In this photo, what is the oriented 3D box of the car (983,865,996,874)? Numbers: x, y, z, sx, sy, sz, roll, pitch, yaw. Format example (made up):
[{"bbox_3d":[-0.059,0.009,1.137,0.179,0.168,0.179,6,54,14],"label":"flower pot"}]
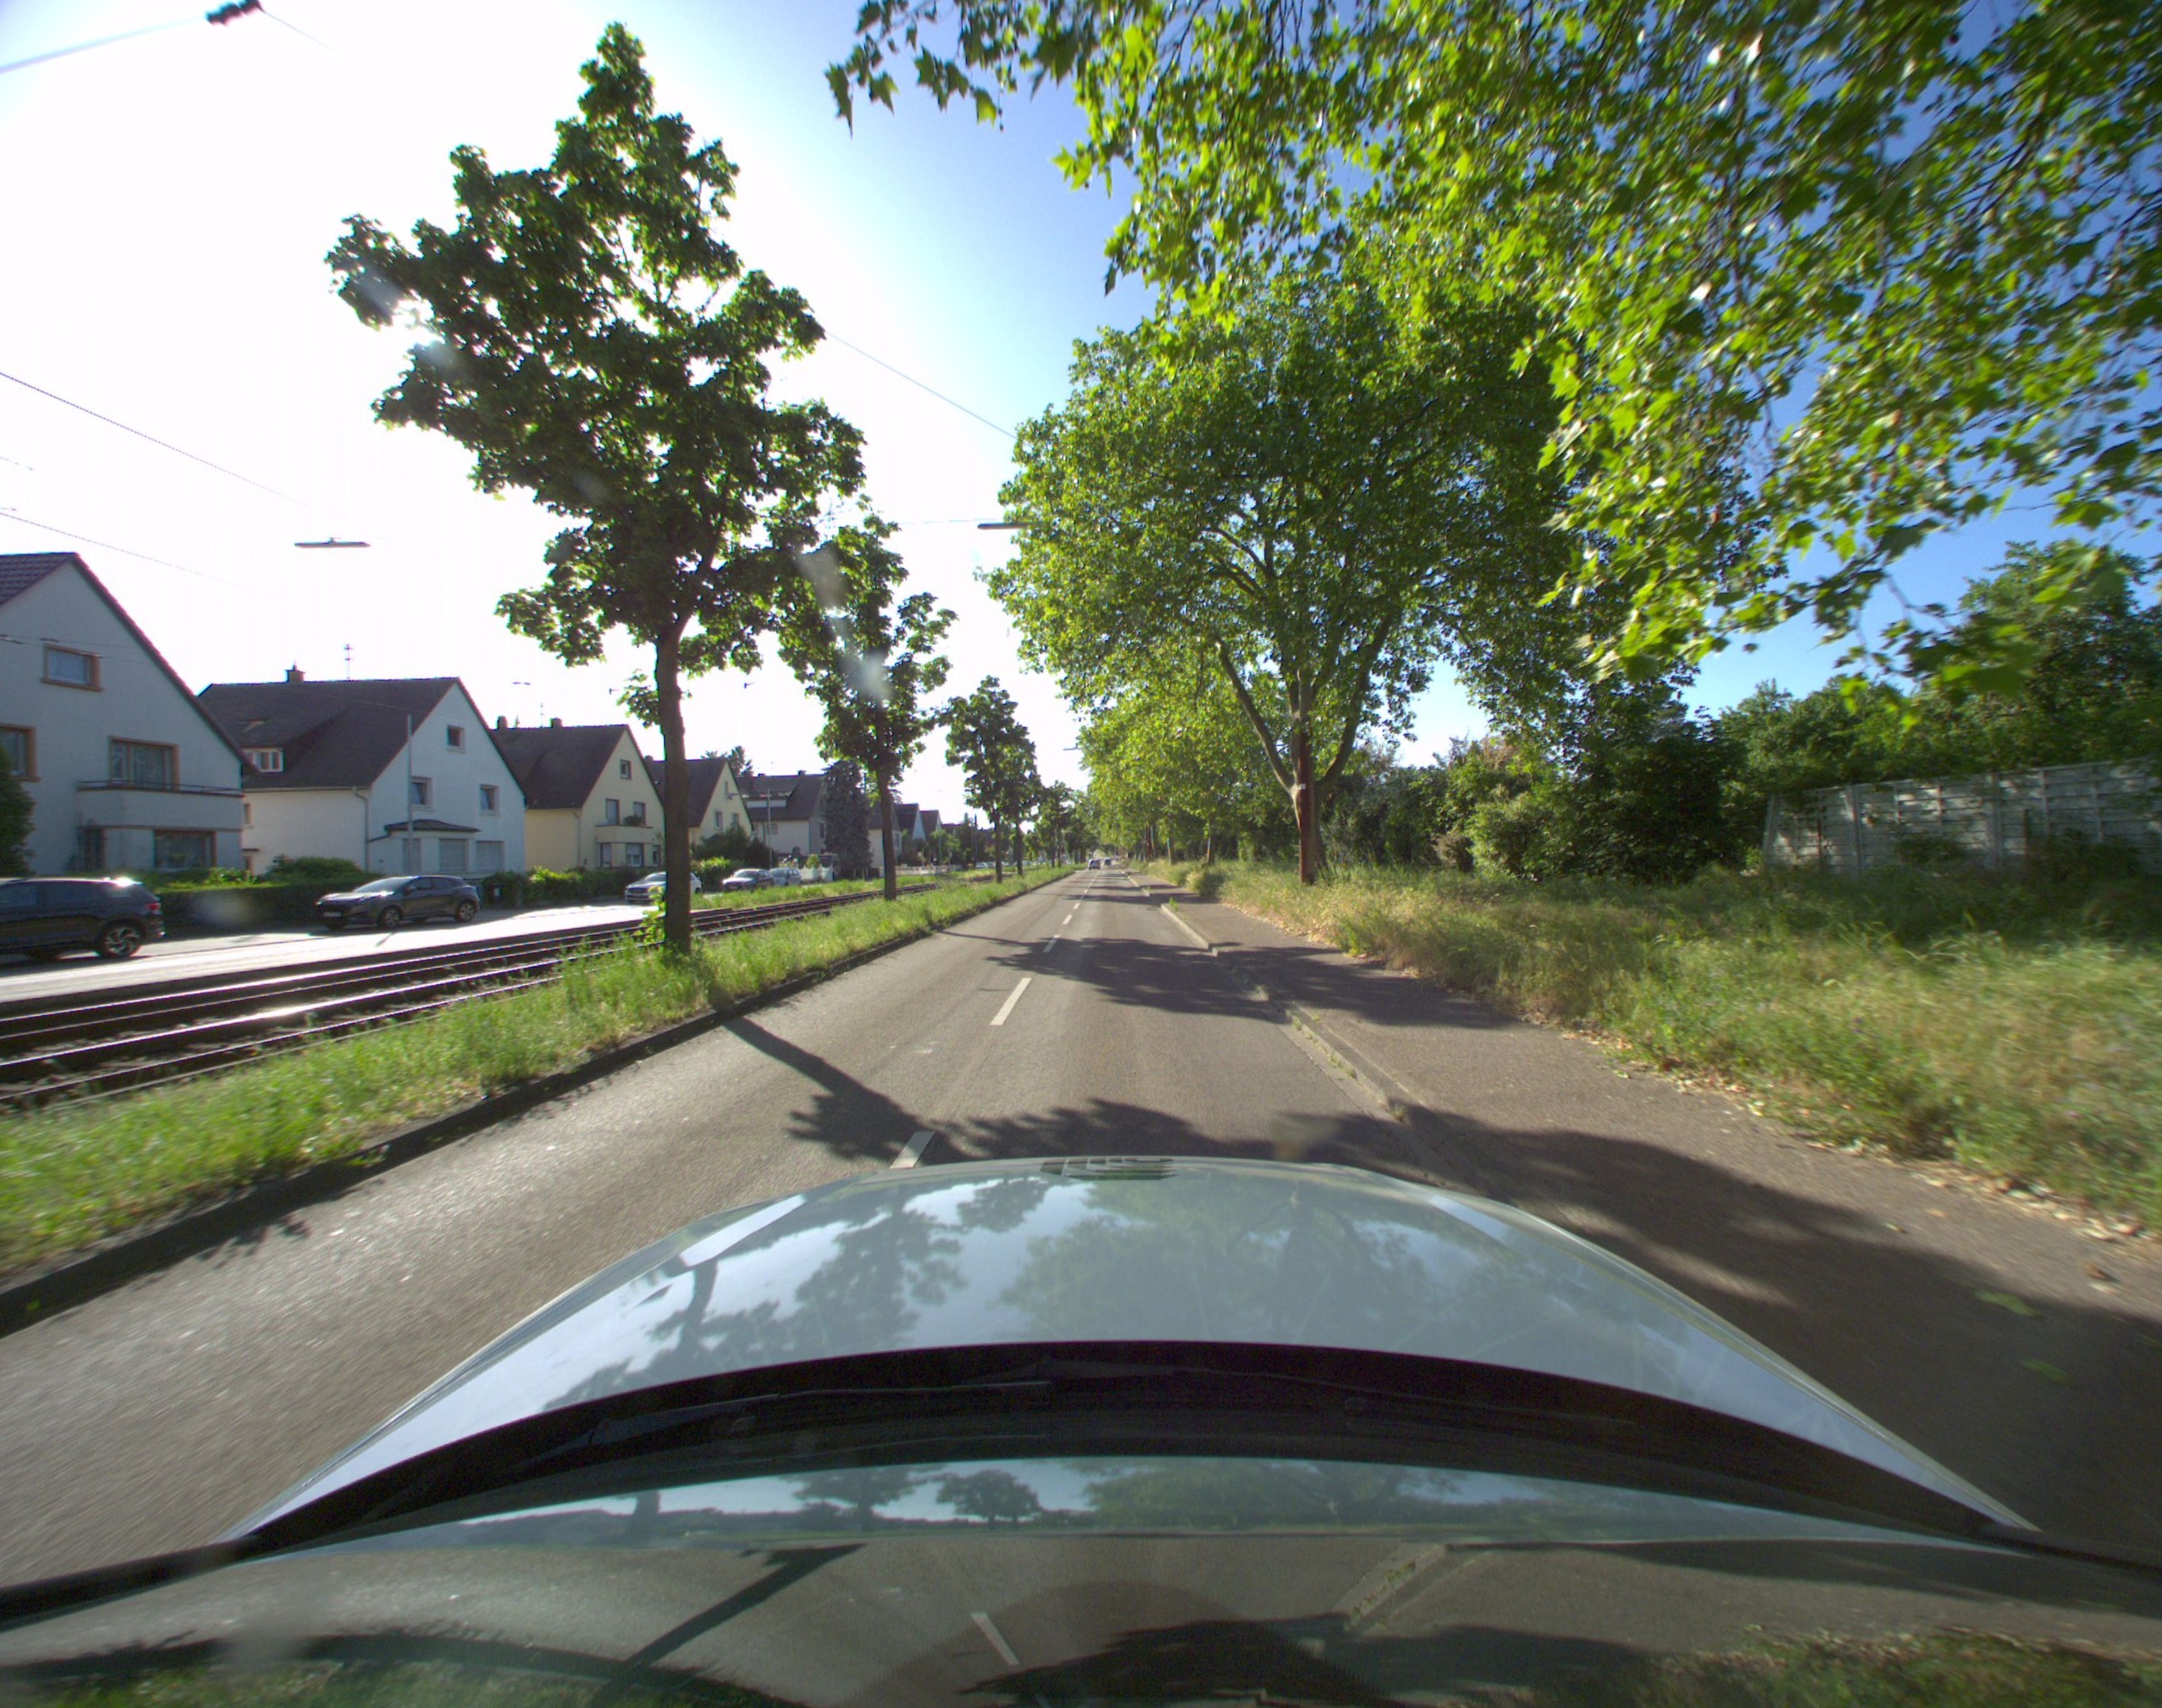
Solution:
[{"bbox_3d":[-16.293,2.780,144.948,1.723,1.466,4.604,-1,-1,1],"label":"car"}]

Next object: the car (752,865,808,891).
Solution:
[{"bbox_3d":[-19.274,1.526,52.327,1.939,1.553,4.058,-1,-1,2],"label":"car"}]

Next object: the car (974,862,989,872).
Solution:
[{"bbox_3d":[-16.569,2.136,136.101,1.853,1.542,4.229,-1,-1,1],"label":"car"}]

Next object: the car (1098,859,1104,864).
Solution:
[{"bbox_3d":[6.246,2.340,255.086,1.986,1.603,4.474,-1,-1,1],"label":"car"}]

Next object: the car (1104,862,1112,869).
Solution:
[{"bbox_3d":[6.211,2.673,188.114,1.986,1.603,4.474,-1,-1,1],"label":"car"}]

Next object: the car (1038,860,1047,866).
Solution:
[{"bbox_3d":[-9.789,2.328,207.920,1.986,1.603,4.474,-1,-1,1],"label":"car"}]

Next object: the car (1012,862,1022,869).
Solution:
[{"bbox_3d":[-15.285,2.738,194.255,1.853,1.413,4.159,-1,-1,1],"label":"car"}]

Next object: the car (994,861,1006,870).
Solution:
[{"bbox_3d":[-15.582,2.256,156.247,1.741,1.651,4.556,-1,-1,1],"label":"car"}]

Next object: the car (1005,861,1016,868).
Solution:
[{"bbox_3d":[-15.226,2.251,175.492,1.853,1.369,4.229,-1,-1,1],"label":"car"}]

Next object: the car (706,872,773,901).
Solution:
[{"bbox_3d":[-19.624,1.841,47.011,1.986,1.450,4.129,2,-1,2],"label":"car"}]

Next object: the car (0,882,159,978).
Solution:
[{"bbox_3d":[-20.911,1.454,15.345,1.986,1.713,4.392,-1,-1,2],"label":"car"}]

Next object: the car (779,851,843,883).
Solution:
[{"bbox_3d":[-24.328,1.162,73.530,5.010,2.625,2.103,-2,0,1],"label":"car"}]

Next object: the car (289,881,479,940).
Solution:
[{"bbox_3d":[-20.595,1.605,24.357,1.919,1.495,4.257,-1,-1,2],"label":"car"}]

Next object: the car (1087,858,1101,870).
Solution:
[{"bbox_3d":[1.797,1.443,113.697,1.853,1.601,4.229,-1,-1,1],"label":"car"}]

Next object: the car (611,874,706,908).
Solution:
[{"bbox_3d":[-19.875,1.714,38.521,1.985,1.426,4.414,-1,-1,3],"label":"car"}]
